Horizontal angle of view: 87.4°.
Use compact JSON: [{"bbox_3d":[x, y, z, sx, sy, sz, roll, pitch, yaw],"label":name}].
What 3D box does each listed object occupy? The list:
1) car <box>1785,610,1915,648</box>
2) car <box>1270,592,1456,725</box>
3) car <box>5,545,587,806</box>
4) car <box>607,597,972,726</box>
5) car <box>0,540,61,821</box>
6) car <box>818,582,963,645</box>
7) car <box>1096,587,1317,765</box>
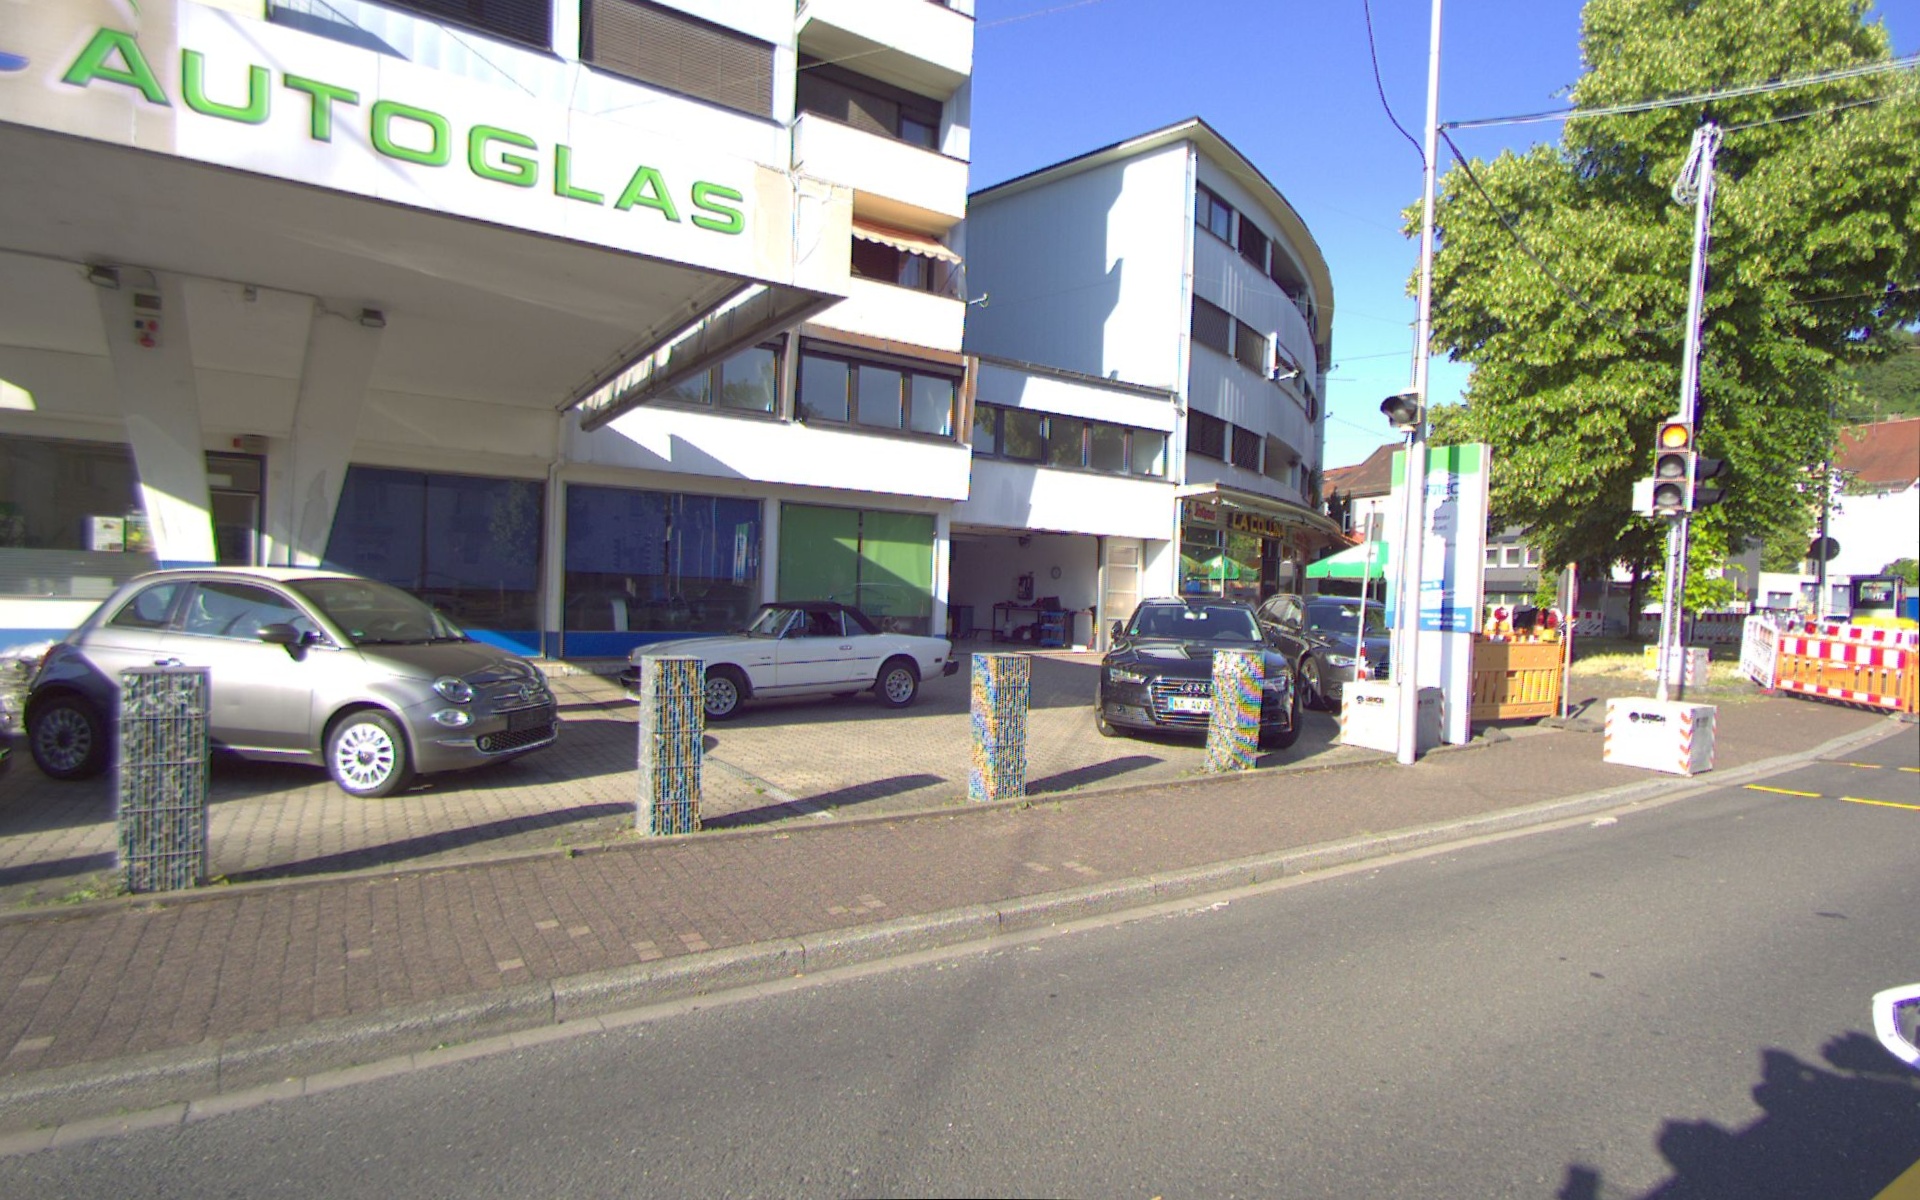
[{"bbox_3d":[36.963,1.179,41.846,1.765,1.428,3.998,1,0,-3],"label":"car"},{"bbox_3d":[5.474,0.680,14.166,1.617,1.474,4.301,2,2,11],"label":"car"},{"bbox_3d":[-4.760,0.472,7.459,3.325,1.589,1.623,2,1,7],"label":"car"},{"bbox_3d":[-1.970,0.634,12.162,4.098,1.301,1.576,0,1,-36],"label":"car"},{"bbox_3d":[-7.140,0.401,5.516,3.325,1.589,1.623,2,1,12],"label":"car"},{"bbox_3d":[-1.867,0.300,25.999,1.980,1.486,3.960,1,1,-35],"label":"car"},{"bbox_3d":[2.623,0.644,11.135,1.872,1.474,4.315,2,2,12],"label":"car"}]
